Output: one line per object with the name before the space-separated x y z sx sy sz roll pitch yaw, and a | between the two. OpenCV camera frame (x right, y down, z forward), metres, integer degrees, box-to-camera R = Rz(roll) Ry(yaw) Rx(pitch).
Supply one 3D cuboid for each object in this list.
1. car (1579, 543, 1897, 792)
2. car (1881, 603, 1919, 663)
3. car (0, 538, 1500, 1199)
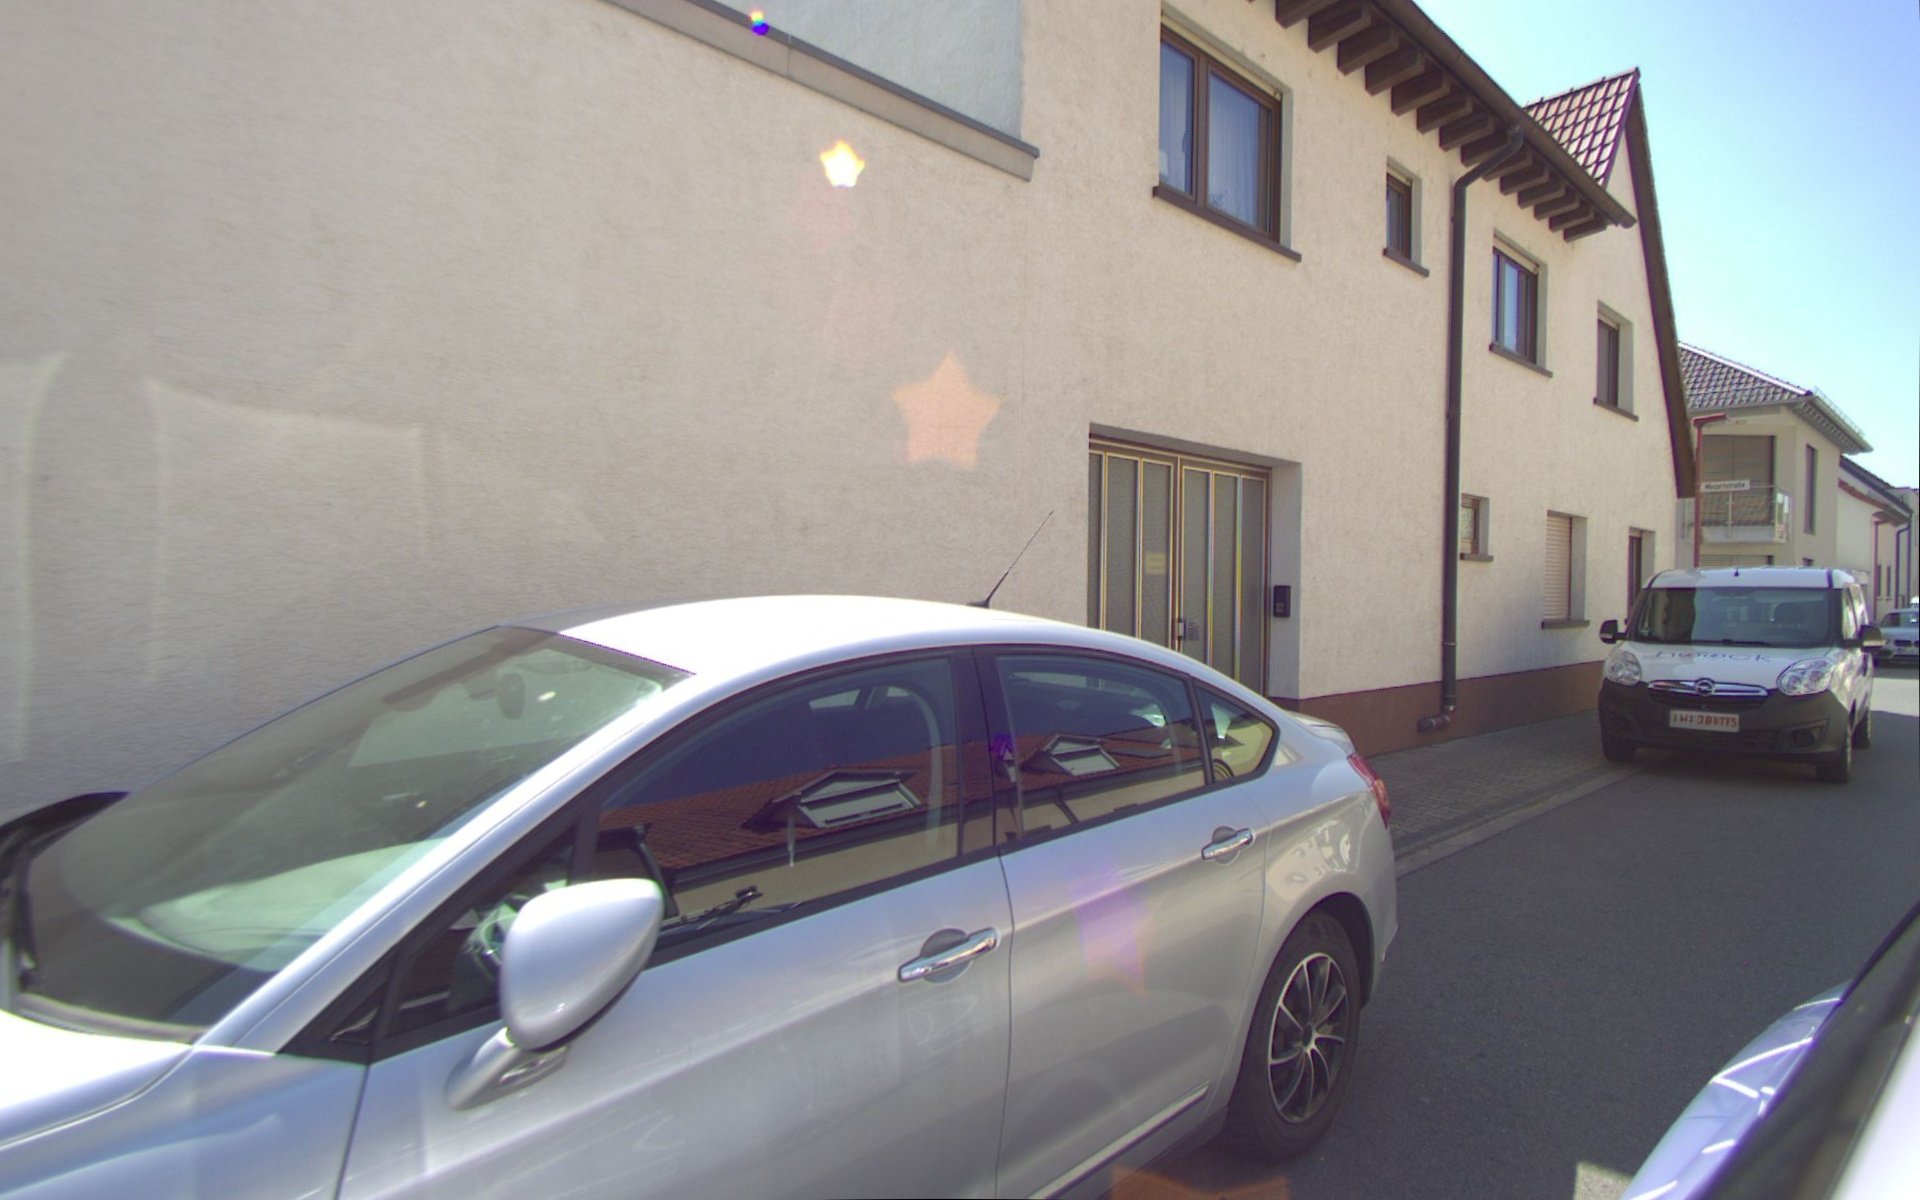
car | 7.711 0.489 9.827 4.772 1.848 1.810 -1 -1 -45
car | 24.026 0.779 24.931 3.861 1.386 1.636 0 0 -42
car | -0.647 0.653 2.331 4.850 1.499 1.794 -1 3 -43
